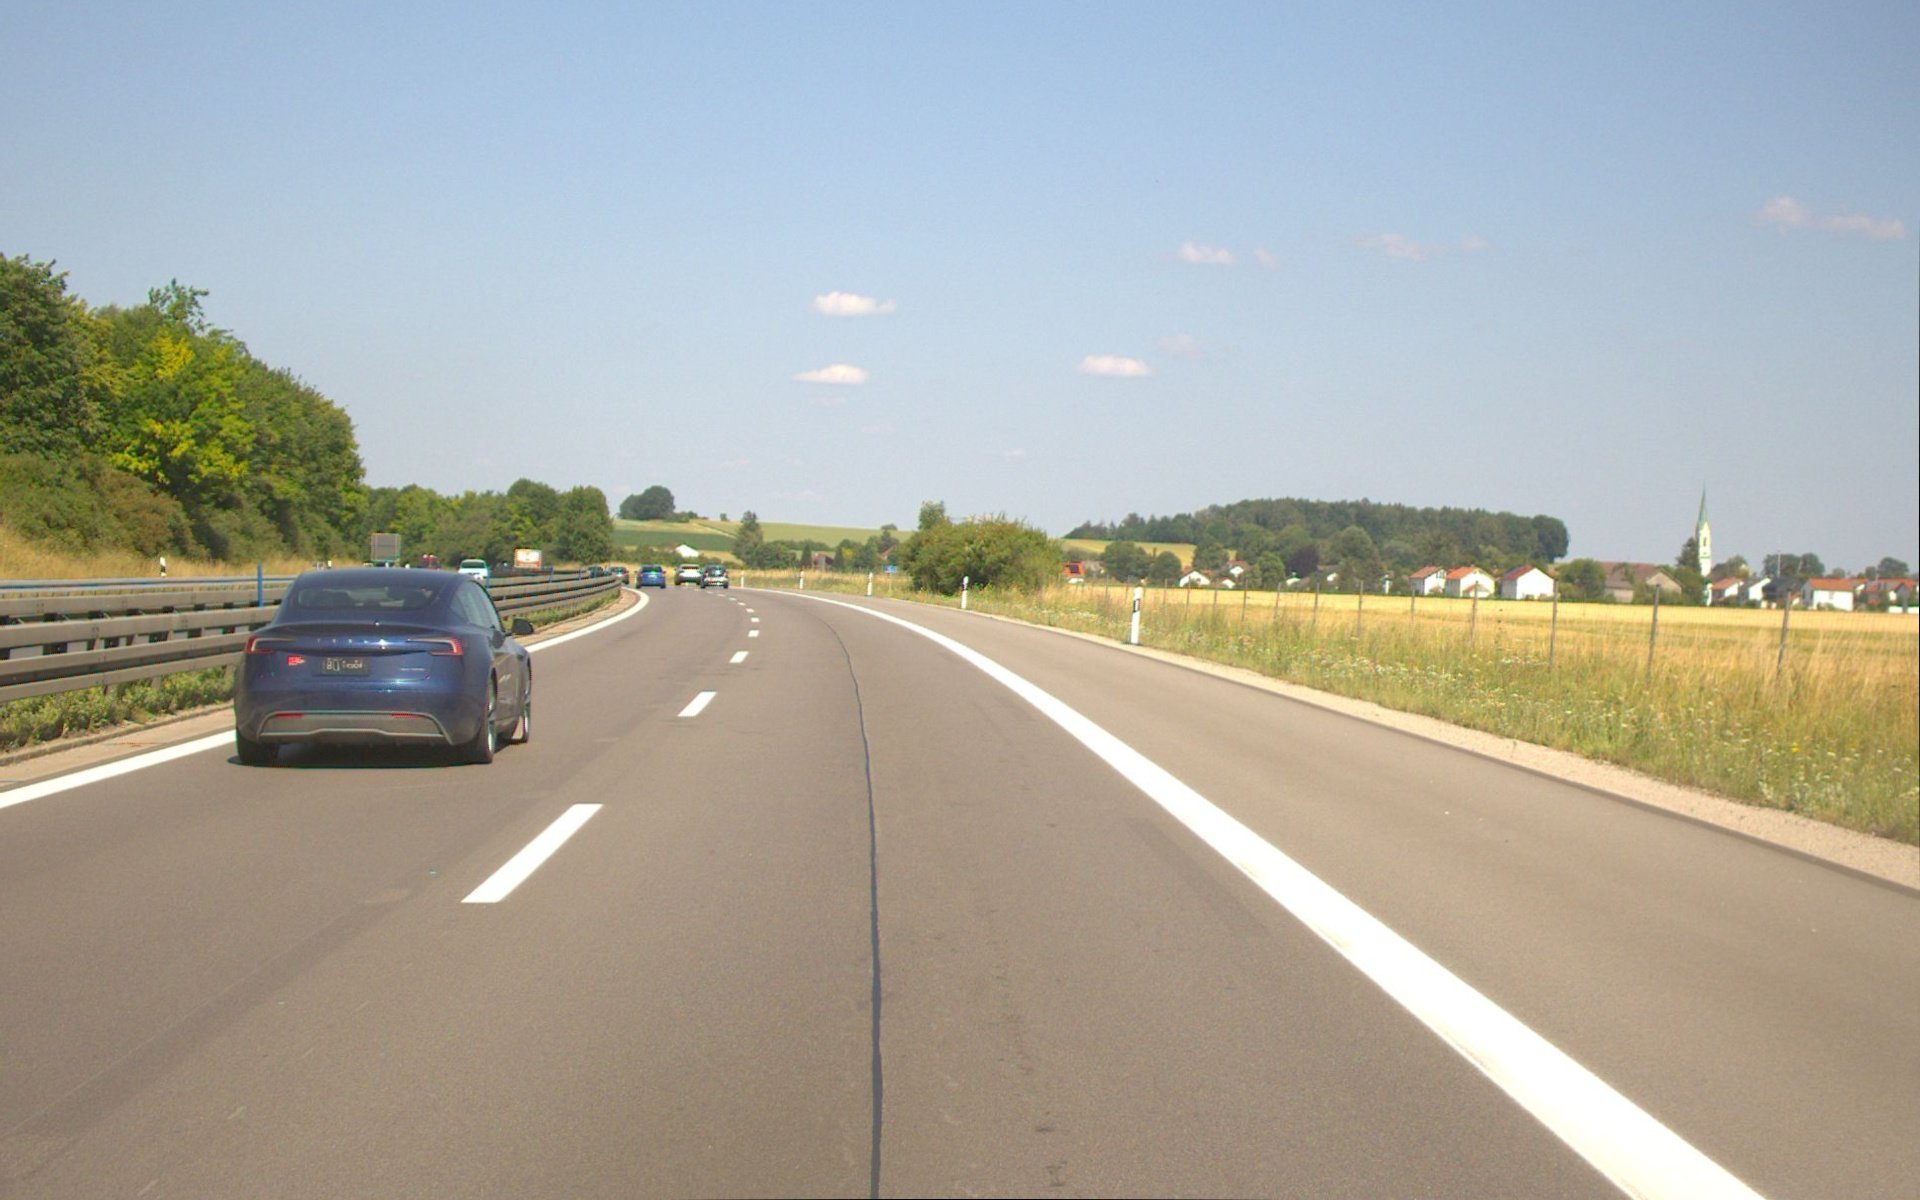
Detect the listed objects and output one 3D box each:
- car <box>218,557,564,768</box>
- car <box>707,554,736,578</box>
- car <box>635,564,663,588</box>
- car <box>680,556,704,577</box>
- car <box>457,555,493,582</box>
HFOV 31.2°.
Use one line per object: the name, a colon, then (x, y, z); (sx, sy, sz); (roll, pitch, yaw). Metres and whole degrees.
car: (-4.308, 0.399, 26.925); (1.847, 1.428, 5.866); (1, 1, -1)
car: (-14.742, -2.090, 212.173); (1.676, 1.448, 3.592); (1, 0, -5)
car: (-19.318, -1.511, 213.916); (1.676, 1.448, 3.592); (1, 0, -5)
car: (-19.577, -2.453, 251.185); (1.676, 1.448, 3.592); (1, 0, -5)
car: (-28.919, -1.888, 205.085); (1.751, 1.559, 4.581); (2, 1, -4)
